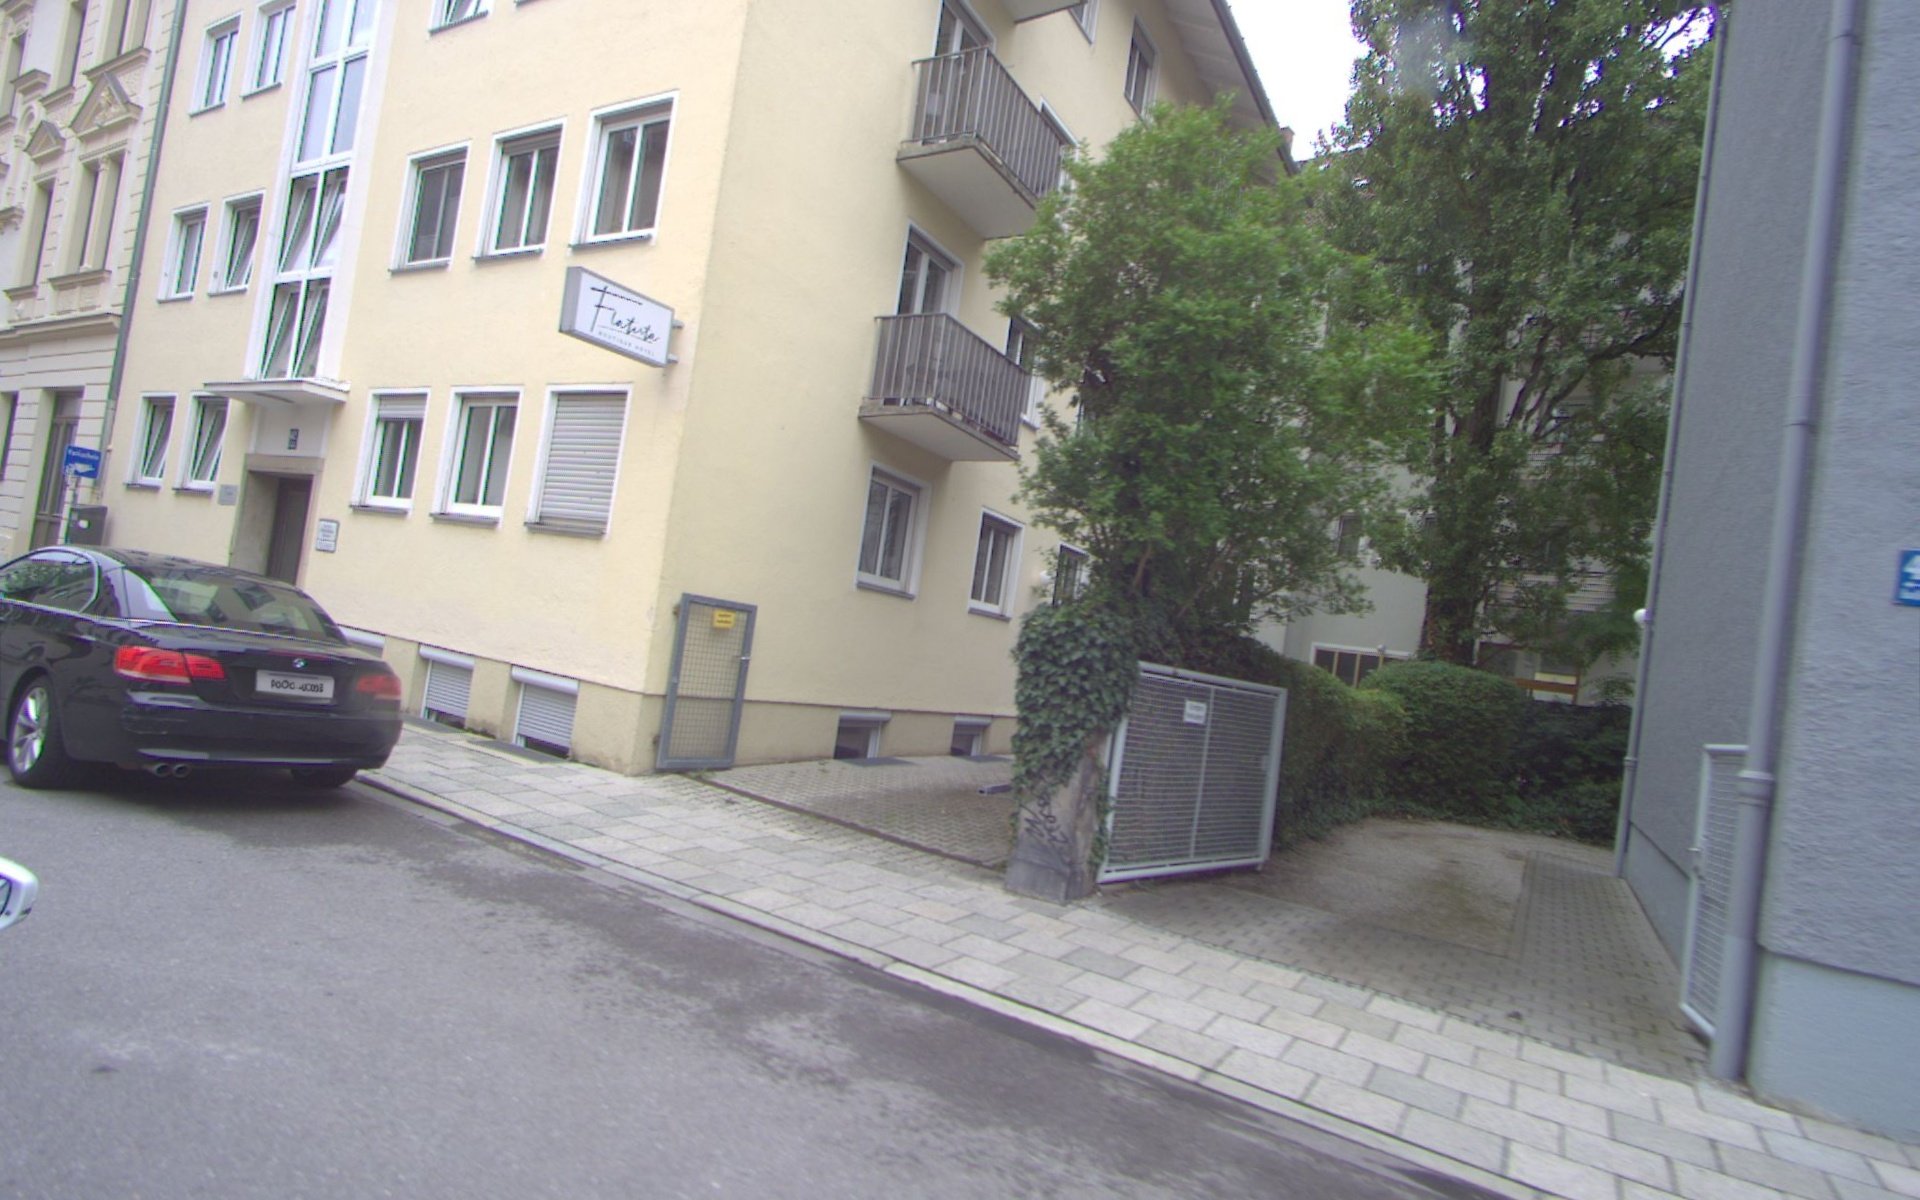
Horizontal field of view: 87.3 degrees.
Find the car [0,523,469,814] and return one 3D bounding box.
[{"bbox_3d":[-5.690,0.346,6.992,4.434,1.347,1.834,7,-7,32],"label":"car"}]
